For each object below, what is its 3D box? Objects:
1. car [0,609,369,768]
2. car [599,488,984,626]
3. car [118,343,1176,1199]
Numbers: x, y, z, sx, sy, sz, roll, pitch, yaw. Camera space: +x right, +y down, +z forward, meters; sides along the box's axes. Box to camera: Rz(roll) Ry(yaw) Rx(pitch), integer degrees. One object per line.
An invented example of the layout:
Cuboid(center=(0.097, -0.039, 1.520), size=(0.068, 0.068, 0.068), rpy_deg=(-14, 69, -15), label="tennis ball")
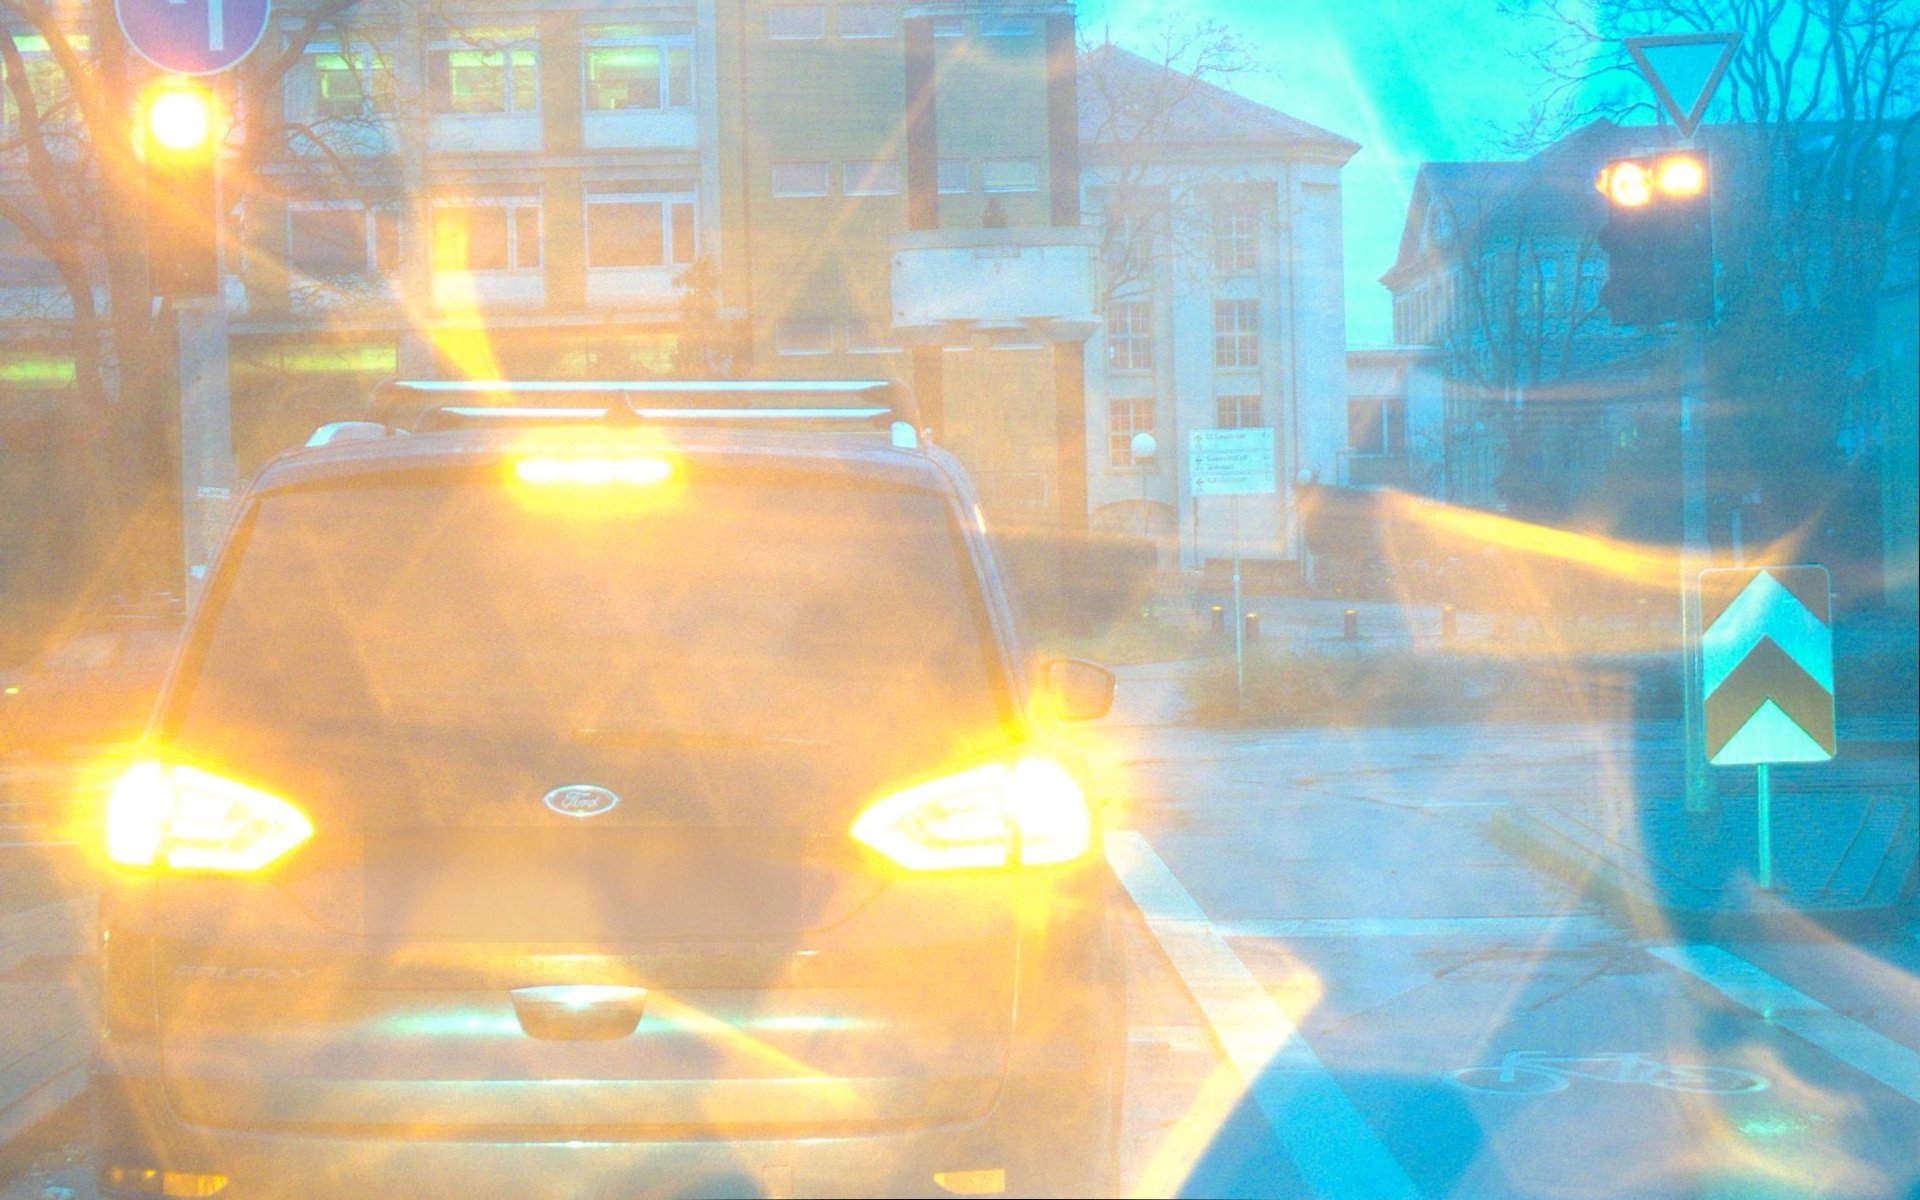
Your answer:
Cuboid(center=(-8.565, 0.894, 35.511), size=(4.436, 1.575, 1.967), rpy_deg=(0, -1, 13), label="car")
Cuboid(center=(-2.499, -0.628, 51.774), size=(5.548, 2.017, 1.999), rpy_deg=(0, -1, 6), label="car")
Cuboid(center=(-0.514, 0.467, 7.373), size=(1.647, 1.812, 4.000), rpy_deg=(0, 1, -1), label="car")
